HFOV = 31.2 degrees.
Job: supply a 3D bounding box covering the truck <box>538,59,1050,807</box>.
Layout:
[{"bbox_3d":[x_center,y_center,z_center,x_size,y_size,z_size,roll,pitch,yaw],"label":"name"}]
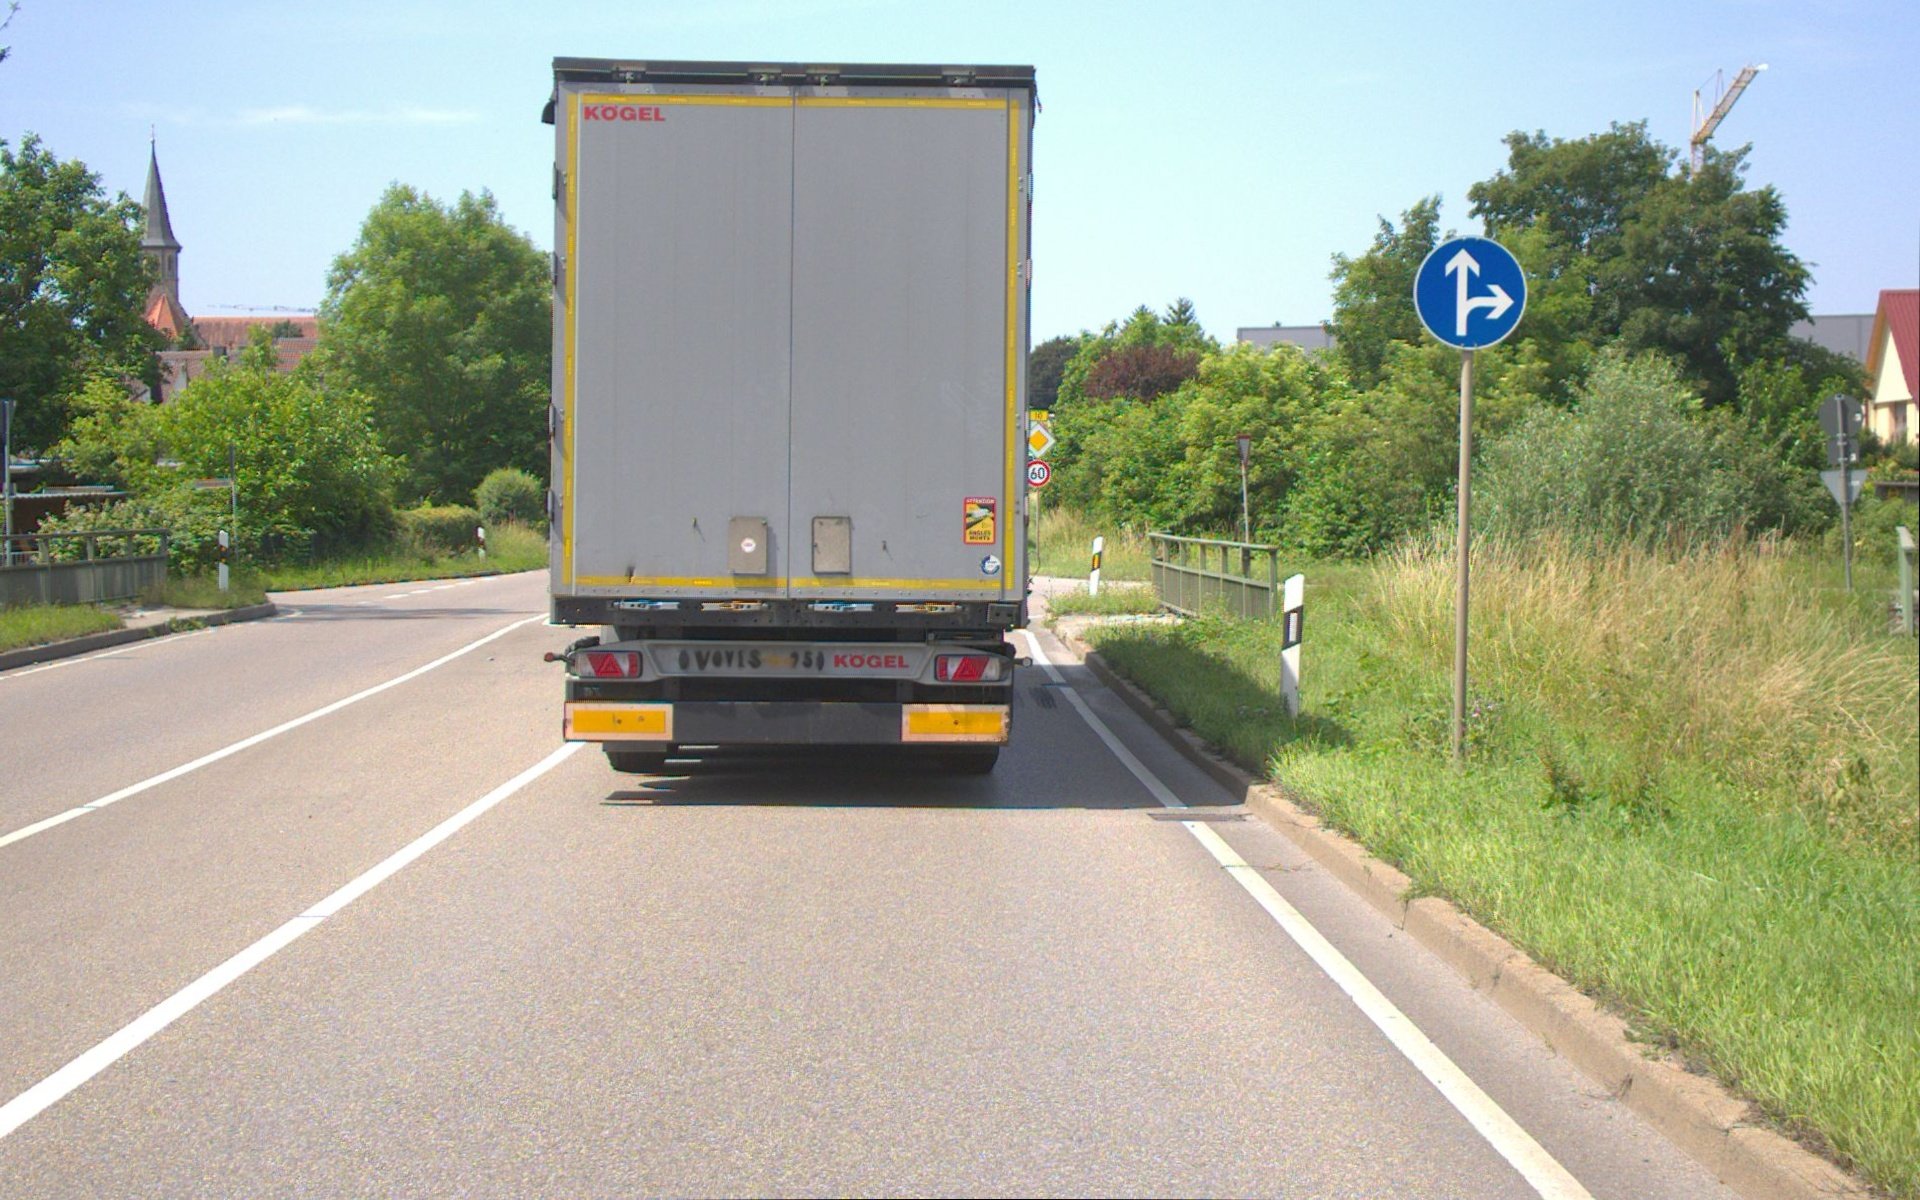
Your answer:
[{"bbox_3d":[-1.047,-0.987,22.511,2.647,3.903,8.826,1,1,-2],"label":"truck"}]
